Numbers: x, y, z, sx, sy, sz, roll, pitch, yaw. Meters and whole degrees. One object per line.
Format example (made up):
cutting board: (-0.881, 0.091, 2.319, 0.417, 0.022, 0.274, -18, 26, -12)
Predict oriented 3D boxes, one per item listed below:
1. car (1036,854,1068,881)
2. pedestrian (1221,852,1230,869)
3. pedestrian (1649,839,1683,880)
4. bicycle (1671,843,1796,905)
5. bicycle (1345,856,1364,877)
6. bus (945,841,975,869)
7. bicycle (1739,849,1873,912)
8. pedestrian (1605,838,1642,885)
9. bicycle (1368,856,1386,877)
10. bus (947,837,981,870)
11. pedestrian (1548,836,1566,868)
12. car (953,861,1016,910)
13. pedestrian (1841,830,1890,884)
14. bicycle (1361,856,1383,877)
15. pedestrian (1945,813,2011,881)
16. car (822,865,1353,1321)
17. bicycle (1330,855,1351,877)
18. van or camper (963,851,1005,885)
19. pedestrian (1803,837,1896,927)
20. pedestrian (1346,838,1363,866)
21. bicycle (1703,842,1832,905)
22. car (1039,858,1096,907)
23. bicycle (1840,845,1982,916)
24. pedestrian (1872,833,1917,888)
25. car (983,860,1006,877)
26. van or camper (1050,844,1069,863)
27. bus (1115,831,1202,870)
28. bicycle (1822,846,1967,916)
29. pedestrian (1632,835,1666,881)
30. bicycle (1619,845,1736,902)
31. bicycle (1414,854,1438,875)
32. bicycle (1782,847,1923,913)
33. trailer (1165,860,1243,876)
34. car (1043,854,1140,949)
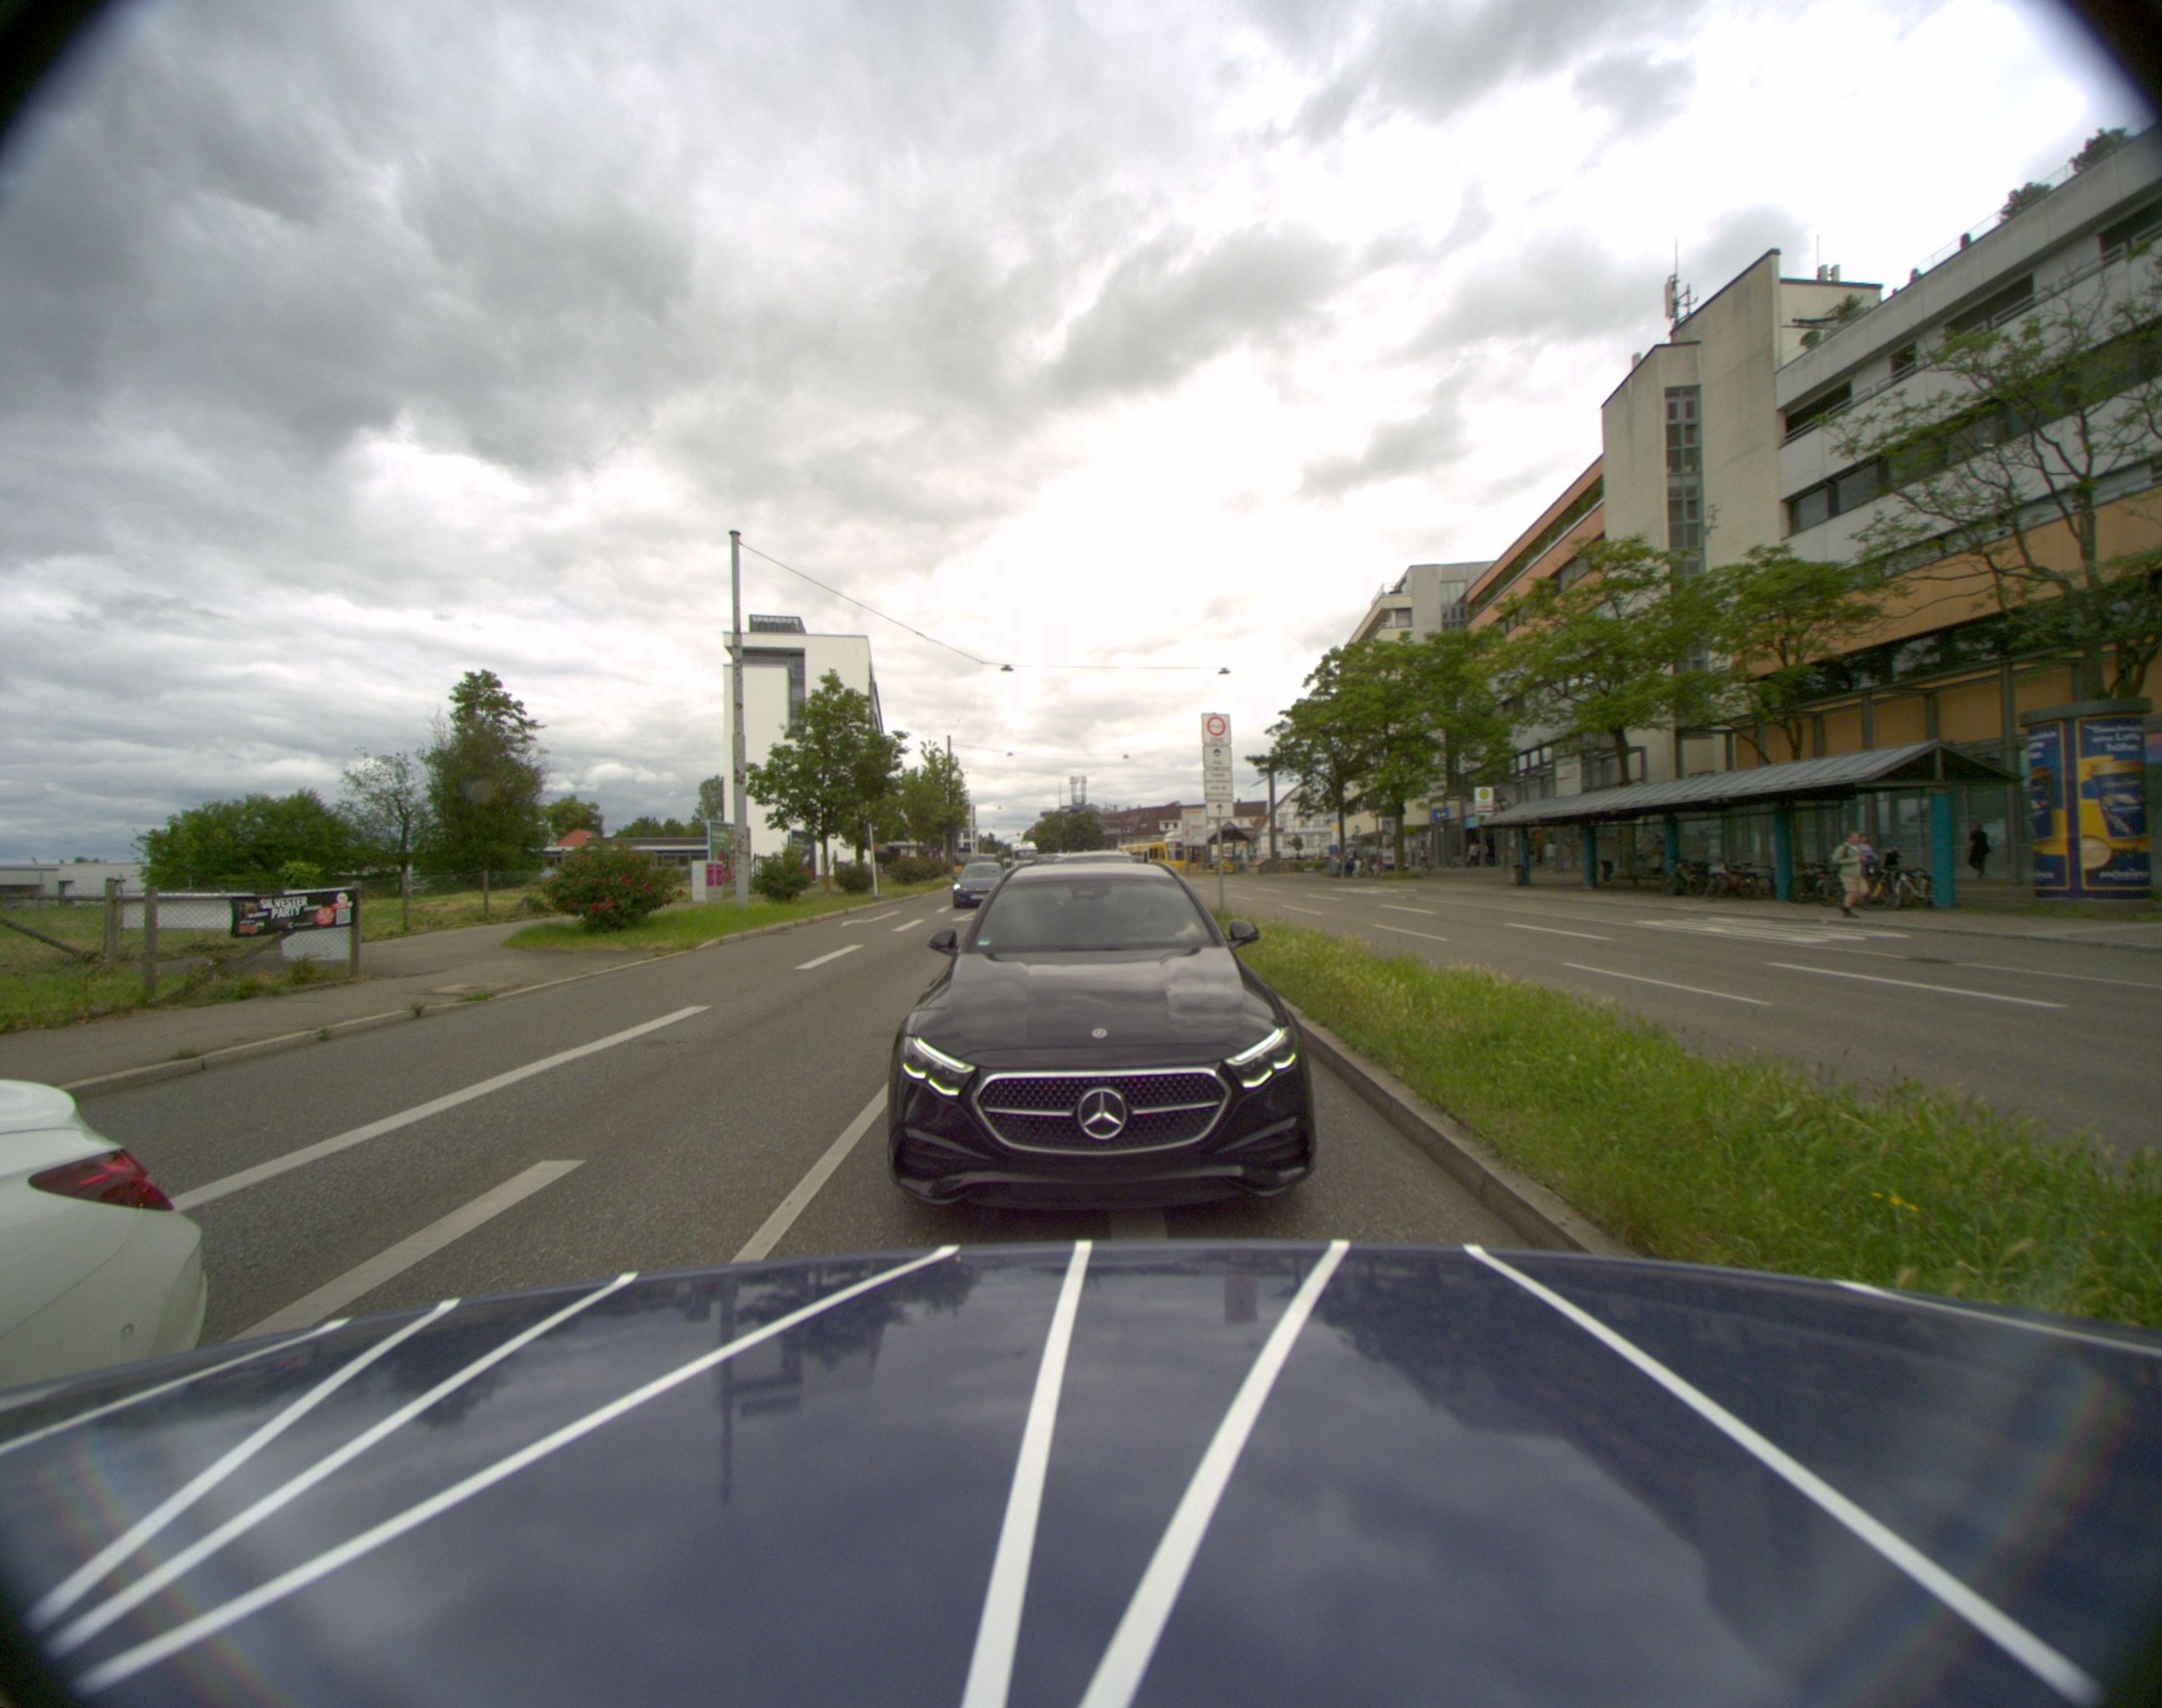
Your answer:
car: (-1.780, 0.835, 47.774, 1.735, 1.544, 4.369, -2, 0, 0)
pedestrian: (14.060, 0.621, 73.834, 0.601, 1.564, 0.620, -1, 0, -10)
pedestrian: (25.222, 0.223, 32.762, 0.772, 1.706, 0.789, -3, 1, -8)
bicycle: (18.125, 0.539, 21.130, 2.908, 1.498, 0.891, -4, 1, -8)
bicycle: (15.343, 0.675, 42.610, 0.603, 1.154, 1.969, -1, -1, 32)
bus: (-14.543, 0.167, 90.496, 3.047, 3.216, 9.329, -1, -1, -12)
bicycle: (18.314, 0.646, 19.215, 2.908, 1.498, 0.805, -1, 0, -8)
pedestrian: (20.274, 0.279, 28.404, 0.777, 1.703, 0.706, -3, 1, -6)
bicycle: (16.171, 0.669, 41.519, 0.603, 1.154, 1.693, -1, -1, 31)
bus: (-12.616, 0.029, 81.207, 2.993, 3.222, 9.856, -1, 0, -12)
pedestrian: (24.063, -0.088, 38.398, 0.633, 1.591, 0.623, -3, 1, 22)
car: (-3.267, 1.014, 26.382, 1.735, 1.474, 4.368, -2, 0, -2)
pedestrian: (23.678, 0.090, 22.945, 0.668, 1.574, 0.706, -3, 1, -6)
bicycle: (16.455, 0.725, 42.958, 0.604, 1.154, 1.966, -1, -1, 4)
pedestrian: (26.953, -0.209, 22.851, 0.899, 2.002, 0.934, -1, 1, -5)
car: (-0.032, 0.914, 5.210, 1.873, 1.542, 4.773, -4, -1, -2)
bicycle: (14.803, 0.670, 43.307, 0.603, 1.154, 1.969, -3, -1, 33)
van or camper: (-5.633, 0.782, 44.677, 1.809, 1.867, 4.849, -2, 0, 0)
pedestrian: (16.448, 0.569, 16.301, 0.705, 1.812, 1.213, -3, 1, -3)
pedestrian: (18.324, -0.154, 50.917, 0.747, 1.866, 0.873, -1, 0, -8)
bicycle: (18.252, 0.506, 20.223, 2.908, 1.498, 0.811, -3, 0, -7)
car: (-0.411, 0.912, 26.122, 1.735, 1.474, 4.369, -2, 0, 0)
bicycle: (18.667, 0.580, 17.095, 2.908, 1.498, 0.598, -1, 0, -8)
pedestrian: (24.391, 0.182, 22.794, 0.634, 1.591, 0.622, -3, 0, -5)
car: (-8.198, 1.378, 71.762, 1.737, 1.474, 4.365, -2, 0, -11)
van or camper: (-2.968, -0.020, 104.300, 2.039, 2.582, 6.112, 1, -1, -7)
bus: (8.124, -0.237, 84.434, 3.891, 3.836, 19.323, -1, -1, -12)
bicycle: (18.595, 0.599, 17.377, 2.908, 1.498, 0.700, -1, 0, -8)
pedestrian: (21.771, 0.136, 29.139, 0.774, 1.706, 0.787, -3, 1, 17)
bicycle: (17.722, 0.559, 22.601, 2.908, 1.498, 0.972, -3, 0, -8)
bicycle: (19.188, 0.559, 42.251, 0.672, 1.154, 2.023, -1, -1, 39)
bicycle: (18.476, 0.607, 18.214, 2.908, 1.498, 0.778, -1, 0, -8)
trailer: (10.884, 1.259, 68.849, 2.851, 1.325, 12.115, -1, -1, -12)
car: (0.204, 0.884, 16.162, 1.735, 1.680, 4.369, -2, 0, 0)
